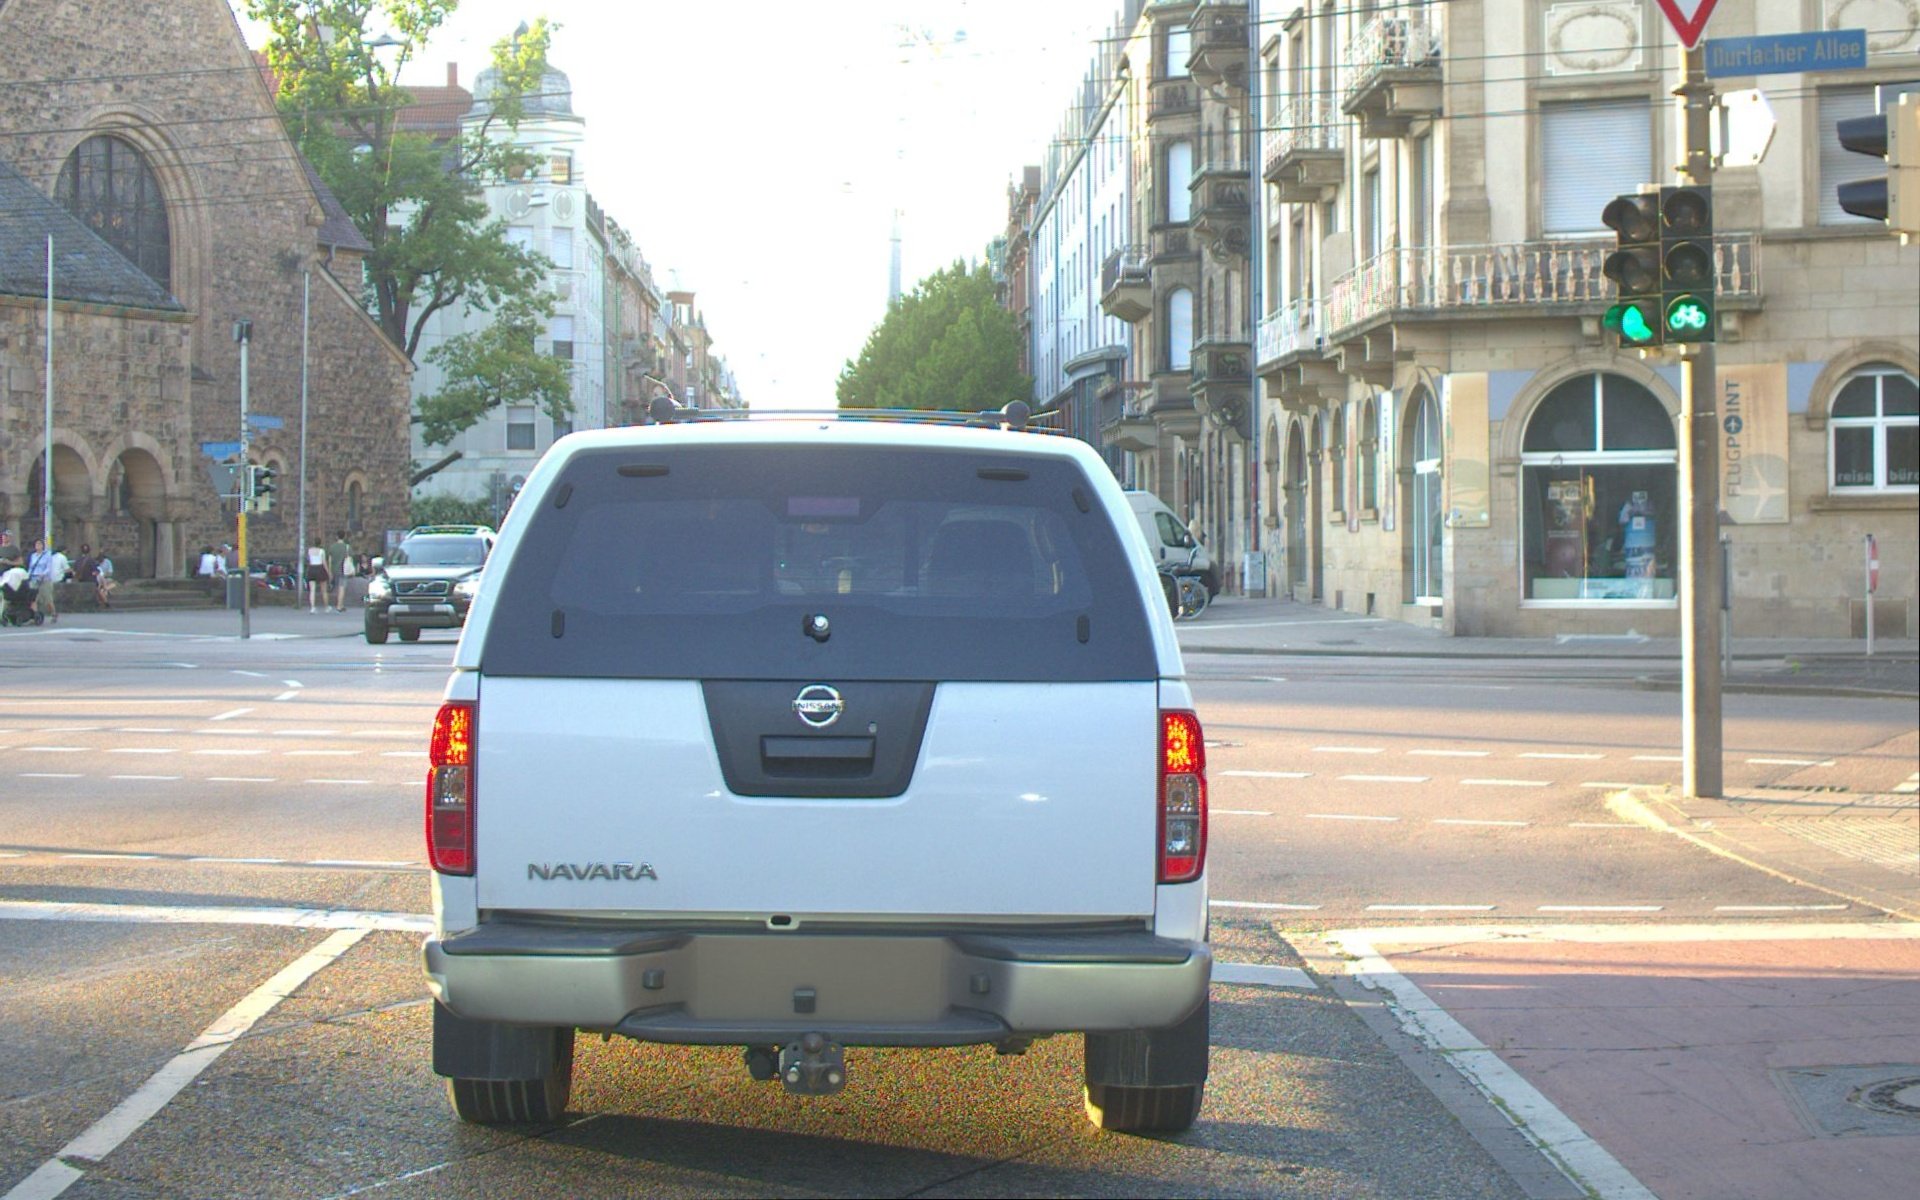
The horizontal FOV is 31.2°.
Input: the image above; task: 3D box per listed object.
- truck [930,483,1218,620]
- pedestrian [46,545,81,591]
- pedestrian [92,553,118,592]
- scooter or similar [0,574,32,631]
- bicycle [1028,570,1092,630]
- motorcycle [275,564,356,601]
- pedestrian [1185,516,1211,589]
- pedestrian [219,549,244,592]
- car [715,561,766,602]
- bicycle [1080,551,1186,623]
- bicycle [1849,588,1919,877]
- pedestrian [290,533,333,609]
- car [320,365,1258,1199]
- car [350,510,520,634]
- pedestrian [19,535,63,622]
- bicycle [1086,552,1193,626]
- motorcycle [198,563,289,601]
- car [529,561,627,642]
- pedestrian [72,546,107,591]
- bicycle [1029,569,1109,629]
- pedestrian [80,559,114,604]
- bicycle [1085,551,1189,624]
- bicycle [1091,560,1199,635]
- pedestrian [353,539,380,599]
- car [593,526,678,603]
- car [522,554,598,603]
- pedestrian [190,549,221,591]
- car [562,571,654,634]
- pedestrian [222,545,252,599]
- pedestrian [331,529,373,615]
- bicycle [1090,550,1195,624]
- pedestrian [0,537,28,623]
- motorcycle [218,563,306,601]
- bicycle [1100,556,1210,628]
[{"bbox_3d":[2.266,-0.933,66.969,5.658,2.556,2.286,0,1,-44],"label":"truck"},{"bbox_3d":[-19.084,-0.680,73.177,0.522,0.957,0.479,1,0,19],"label":"pedestrian"},{"bbox_3d":[-20.986,-0.669,84.400,0.551,0.957,0.710,1,0,-19],"label":"pedestrian"},{"bbox_3d":[-18.623,0.049,66.988,0.634,1.099,1.078,0,0,11],"label":"scooter or similar"},{"bbox_3d":[1.790,-0.002,61.765,1.076,1.021,0.317,-3,0,-2],"label":"bicycle"},{"bbox_3d":[-17.663,-0.488,94.220,2.167,0.984,0.593,1,0,20],"label":"motorcycle"},{"bbox_3d":[5.417,-1.090,78.357,0.527,1.648,0.547,1,0,-1],"label":"pedestrian"},{"bbox_3d":[-16.624,-0.673,78.438,0.521,0.957,0.479,1,0,-16],"label":"pedestrian"},{"bbox_3d":[-8.294,-0.707,129.679,1.858,1.524,4.001,1,0,-4],"label":"car"},{"bbox_3d":[3.207,-0.240,63.928,1.855,1.233,0.531,-3,0,-2],"label":"bicycle"},{"bbox_3d":[4.531,0.515,13.774,2.065,1.106,0.628,0,0,-33],"label":"bicycle"},{"bbox_3d":[-14.365,-0.635,76.143,0.812,1.664,0.860,1,0,-2],"label":"pedestrian"},{"bbox_3d":[-0.388,0.399,9.405,1.993,1.803,4.000,1,0,-1],"label":"car"},{"bbox_3d":[-8.038,-0.474,53.057,1.993,1.778,4.798,-1,2,-2],"label":"car"},{"bbox_3d":[-18.125,-0.426,67.795,0.634,1.693,0.602,1,0,10],"label":"pedestrian"},{"bbox_3d":[3.242,-0.197,62.066,1.817,1.233,0.478,-3,0,-2],"label":"bicycle"},{"bbox_3d":[-18.736,-0.474,89.905,2.243,0.984,0.708,1,0,-6],"label":"motorcycle"},{"bbox_3d":[-8.170,-0.003,73.247,1.993,1.552,4.770,0,2,-7],"label":"car"},{"bbox_3d":[-18.458,-0.671,72.902,0.522,0.957,0.479,1,0,19],"label":"pedestrian"},{"bbox_3d":[1.976,-0.020,62.476,1.371,1.021,0.317,-3,0,-2],"label":"bicycle"},{"bbox_3d":[-18.599,-0.405,74.075,0.478,0.957,0.522,1,0,29],"label":"pedestrian"},{"bbox_3d":[3.256,-0.239,63.397,1.817,1.233,0.410,-3,0,-2],"label":"bicycle"},{"bbox_3d":[3.297,-0.041,61.356,1.817,1.233,0.488,-3,0,-2],"label":"bicycle"},{"bbox_3d":[-16.925,-0.886,98.030,0.642,1.690,0.562,1,0,-1],"label":"pedestrian"},{"bbox_3d":[-8.815,-0.993,93.722,1.993,2.007,4.951,-1,1,-2],"label":"car"},{"bbox_3d":[-11.819,-0.635,101.786,1.858,1.393,4.000,1,0,-1],"label":"car"},{"bbox_3d":[-17.251,-0.692,78.611,0.522,0.957,0.479,1,0,17],"label":"pedestrian"},{"bbox_3d":[-8.809,0.044,86.323,1.993,1.472,4.140,-1,1,-2],"label":"car"},{"bbox_3d":[-16.917,-0.656,80.439,0.478,1.241,0.523,1,0,17],"label":"pedestrian"},{"bbox_3d":[-13.483,-0.622,76.204,0.812,1.894,0.666,1,0,-2],"label":"pedestrian"},{"bbox_3d":[3.335,-0.234,62.792,1.817,1.233,0.412,-3,0,-2],"label":"bicycle"},{"bbox_3d":[-18.857,-0.399,67.974,0.634,1.693,0.602,1,0,9],"label":"pedestrian"},{"bbox_3d":[-18.663,-0.485,91.932,2.243,0.984,0.708,1,0,-6],"label":"motorcycle"},{"bbox_3d":[3.423,-0.146,60.415,1.817,1.146,0.636,-3,0,-2],"label":"bicycle"}]
